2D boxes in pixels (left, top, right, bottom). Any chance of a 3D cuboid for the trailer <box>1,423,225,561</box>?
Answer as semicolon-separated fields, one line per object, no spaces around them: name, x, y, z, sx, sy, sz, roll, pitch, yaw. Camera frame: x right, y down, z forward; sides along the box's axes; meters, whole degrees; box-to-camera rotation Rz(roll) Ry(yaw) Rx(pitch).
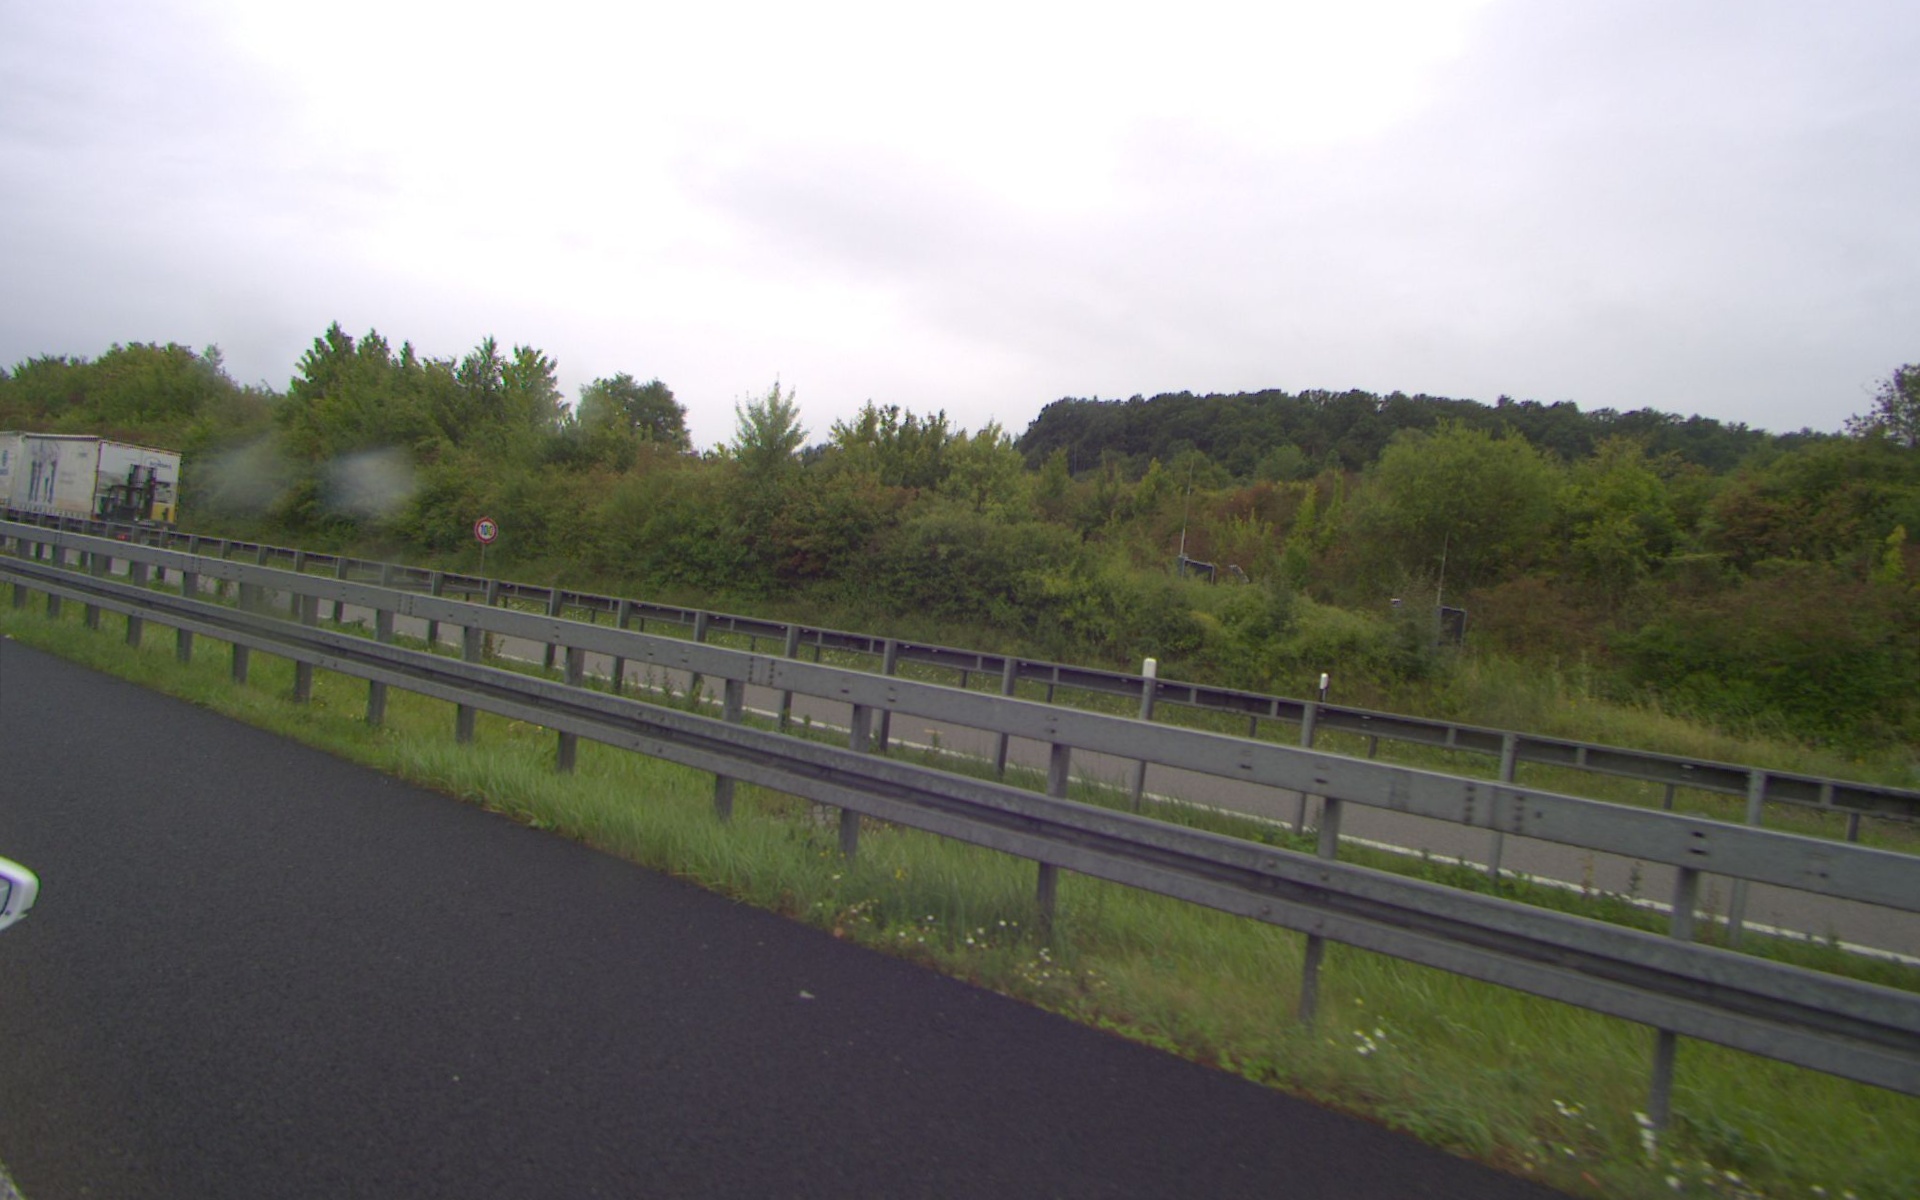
trailer;-33.032;-4.302;39.076;10.282;4.341;3.442;7;-1;33

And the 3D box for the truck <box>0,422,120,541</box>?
truck;-41.632;-5.352;44.619;10.247;4.341;3.442;7;-1;33

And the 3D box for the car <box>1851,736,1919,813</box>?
car;23.690;4.325;23.321;1.852;1.601;4.195;8;-1;-38
